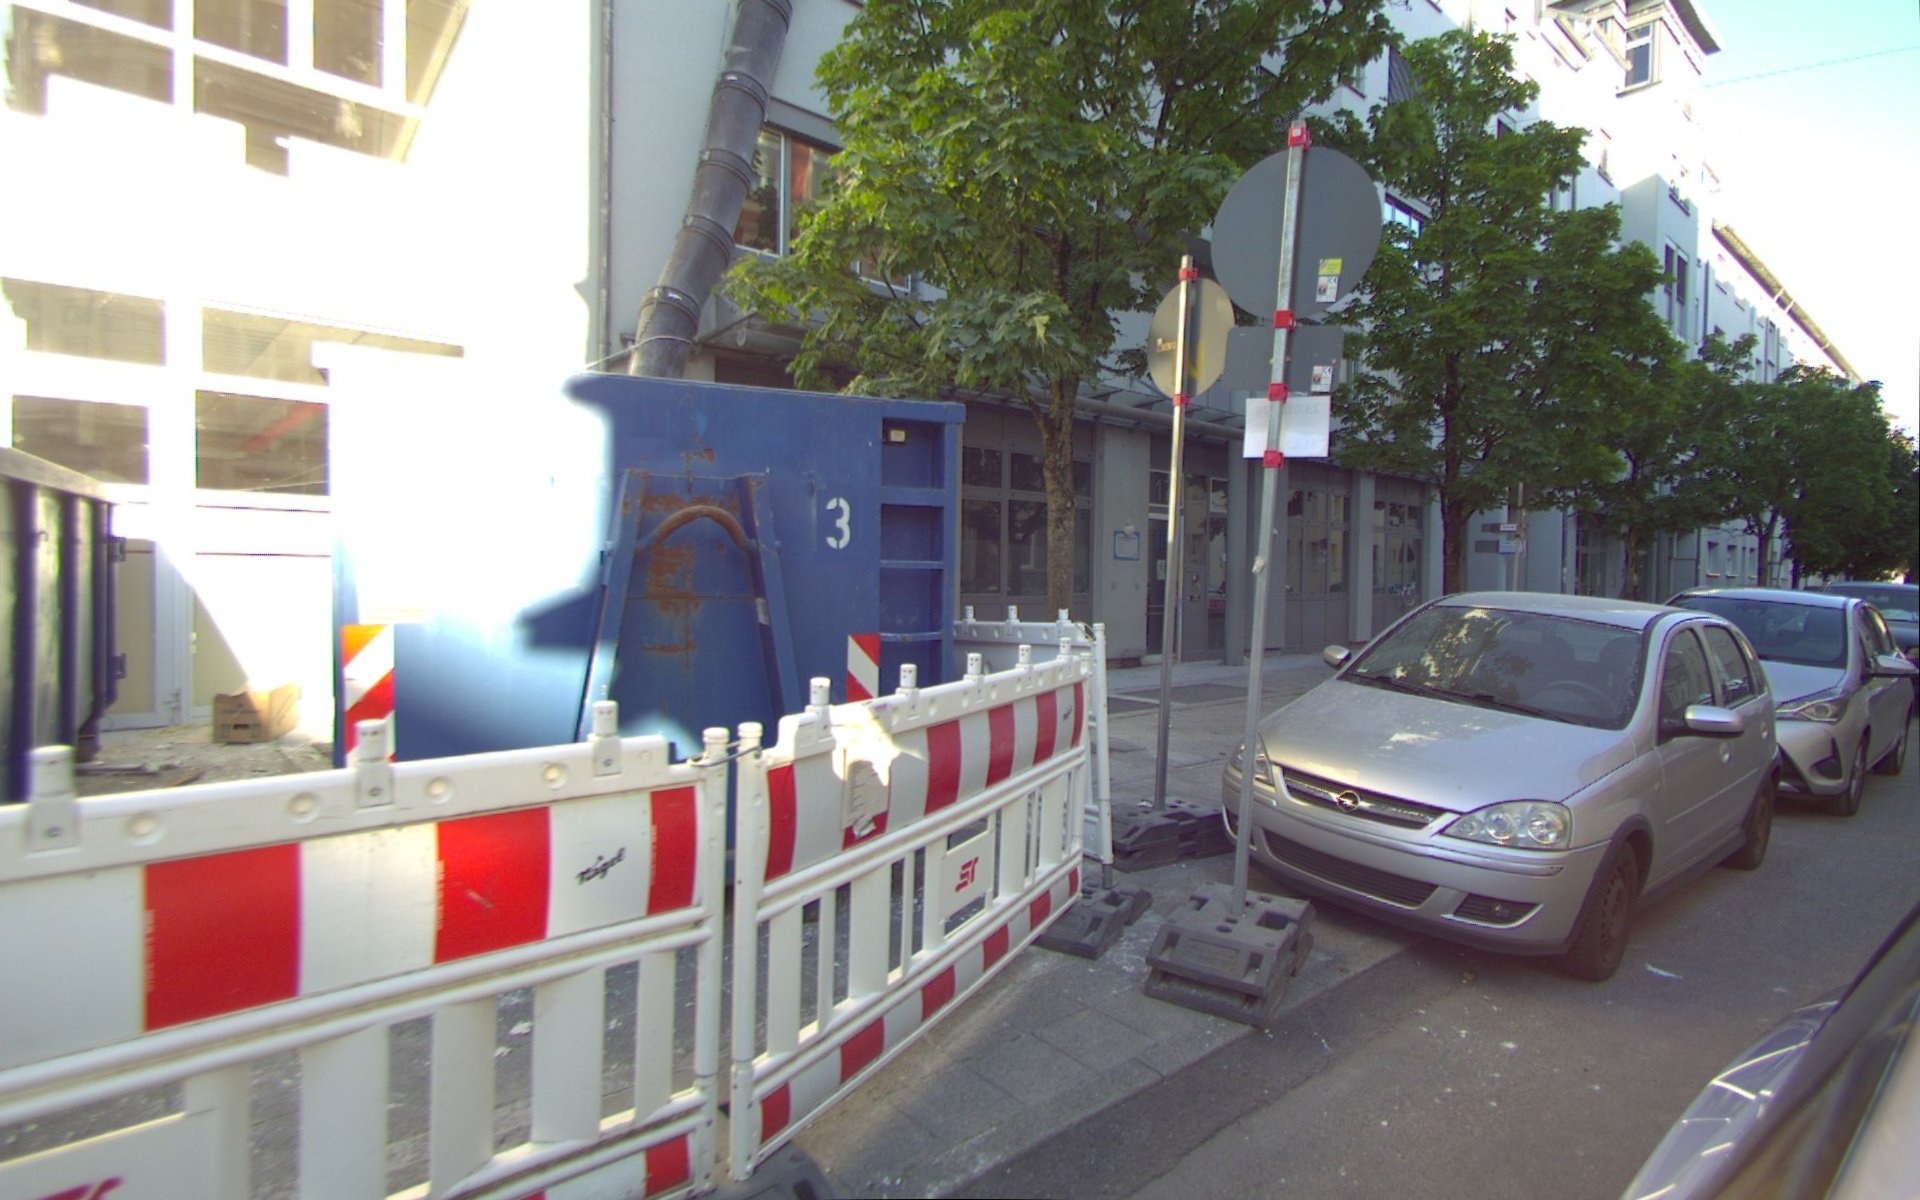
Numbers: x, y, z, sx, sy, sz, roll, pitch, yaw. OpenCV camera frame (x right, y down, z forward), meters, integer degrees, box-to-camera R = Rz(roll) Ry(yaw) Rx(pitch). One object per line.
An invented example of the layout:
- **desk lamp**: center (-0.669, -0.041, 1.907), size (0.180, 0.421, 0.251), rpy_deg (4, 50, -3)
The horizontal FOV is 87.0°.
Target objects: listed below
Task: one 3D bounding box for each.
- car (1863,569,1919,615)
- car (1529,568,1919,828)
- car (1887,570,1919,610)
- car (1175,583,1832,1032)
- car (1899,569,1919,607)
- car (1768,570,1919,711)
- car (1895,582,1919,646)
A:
- **car**: center (43.512, -0.386, 47.029), size (3.934, 2.039, 1.995), rpy_deg (-1, 1, -44)
- **car**: center (6.462, 0.564, 8.247), size (3.929, 1.605, 1.912), rpy_deg (-1, 1, -40)
- **car**: center (50.408, -0.543, 53.328), size (3.934, 2.039, 1.995), rpy_deg (-1, 1, -44)
- **car**: center (3.024, 0.649, 5.244), size (3.994, 1.465, 1.638), rpy_deg (-1, 1, -40)
- **car**: center (53.710, -0.665, 56.257), size (3.934, 2.039, 1.995), rpy_deg (-1, 1, -44)
- **car**: center (12.978, 0.460, 14.164), size (4.314, 1.710, 1.862), rpy_deg (-1, 1, -41)
- **car**: center (24.631, 0.317, 25.097), size (3.933, 1.507, 1.853), rpy_deg (-1, 2, -43)
